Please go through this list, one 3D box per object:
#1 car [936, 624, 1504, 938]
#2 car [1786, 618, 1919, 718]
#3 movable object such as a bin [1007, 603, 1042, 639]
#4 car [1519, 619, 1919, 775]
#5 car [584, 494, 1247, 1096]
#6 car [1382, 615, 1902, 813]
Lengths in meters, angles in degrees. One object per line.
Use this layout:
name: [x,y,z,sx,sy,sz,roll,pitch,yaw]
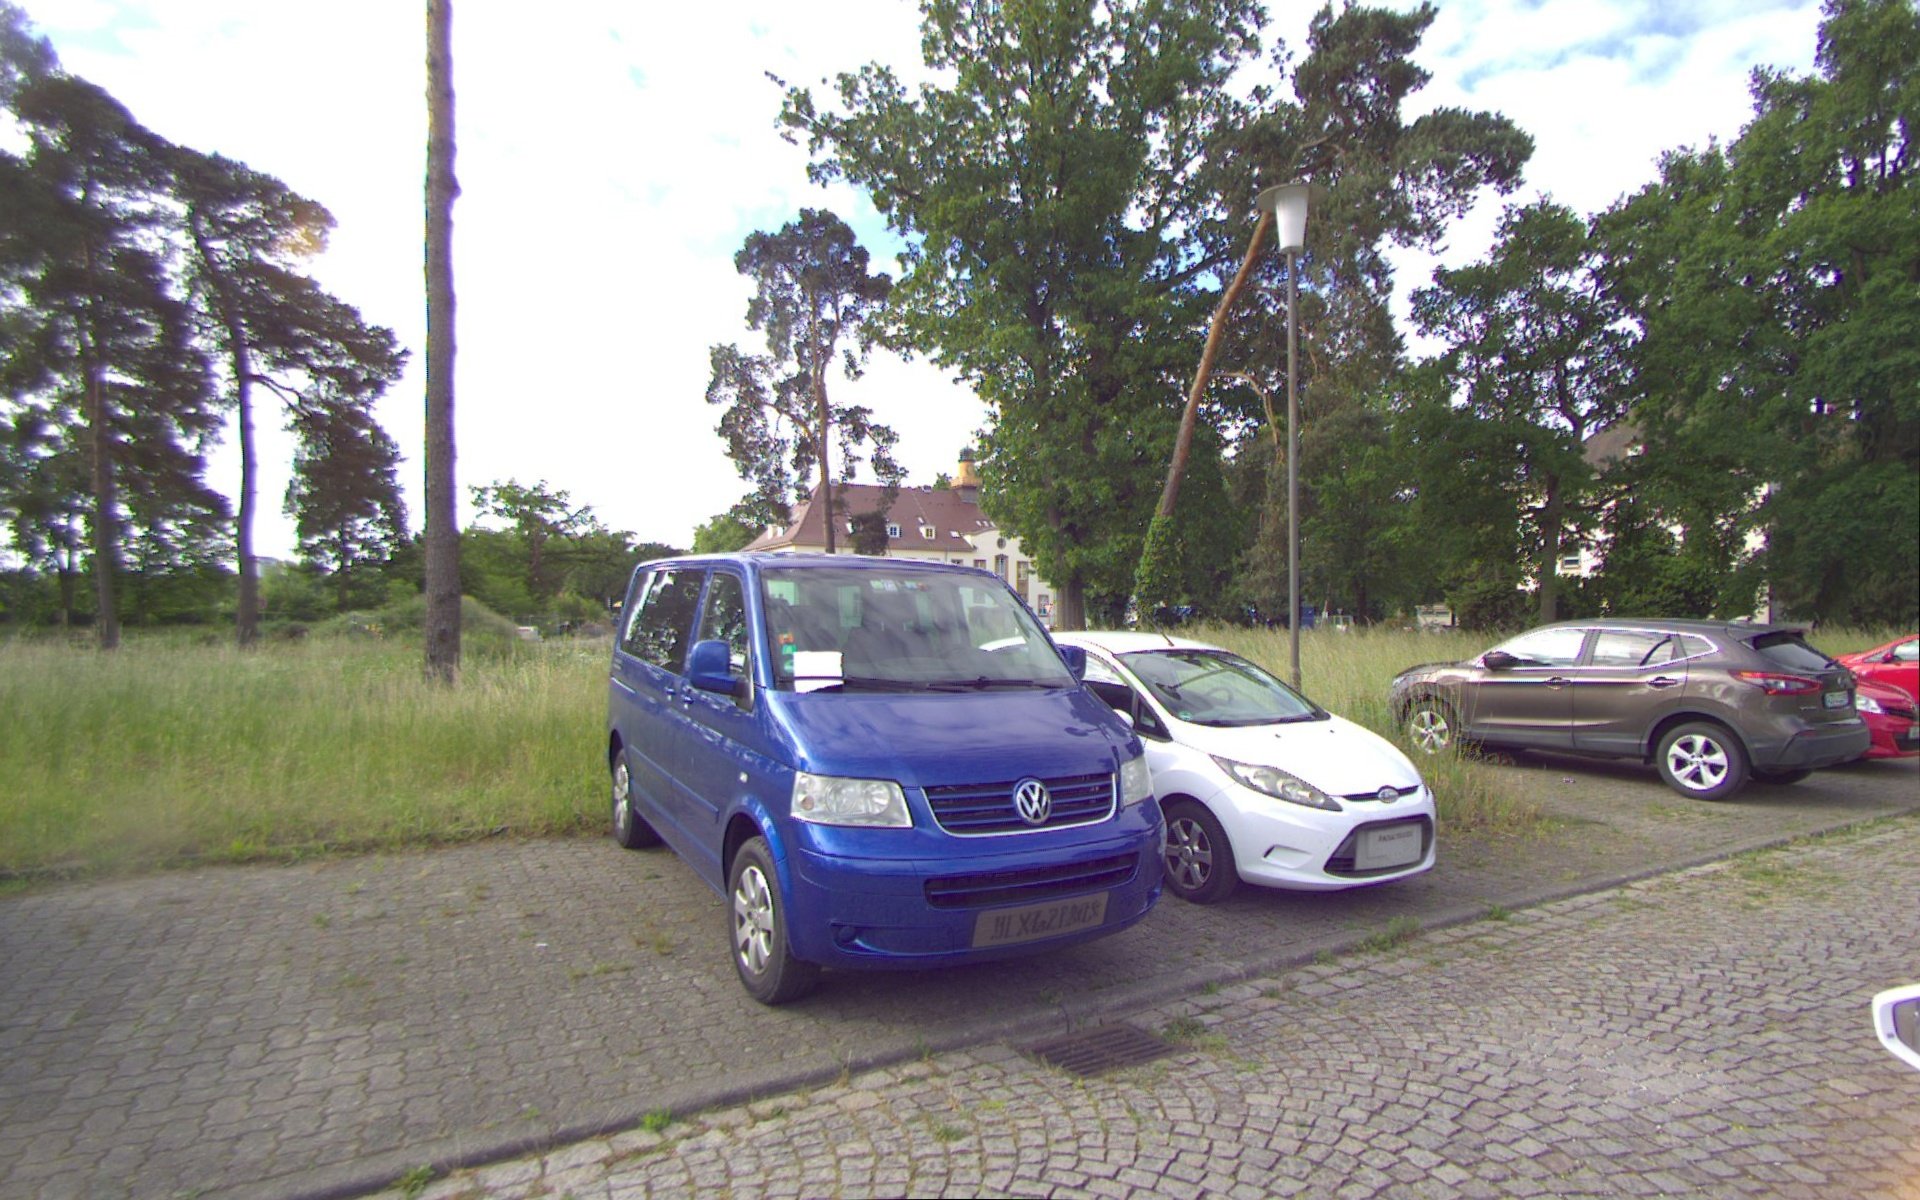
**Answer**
car: [1.496,0.949,7.063,1.706,1.513,3.774,0,-1,-31]
car: [15.524,1.054,15.611,1.766,1.509,3.798,0,-1,-30]
movable object such as a bin: [6.852,2.287,107.961,2.104,3.689,6.123,2,-2,-12]
car: [9.032,0.997,11.986,1.740,1.506,3.799,0,-1,-29]
car: [-0.769,0.681,5.909,2.014,2.007,4.688,0,-1,-30]
car: [6.750,0.963,10.421,1.931,1.596,4.048,0,-1,-30]
